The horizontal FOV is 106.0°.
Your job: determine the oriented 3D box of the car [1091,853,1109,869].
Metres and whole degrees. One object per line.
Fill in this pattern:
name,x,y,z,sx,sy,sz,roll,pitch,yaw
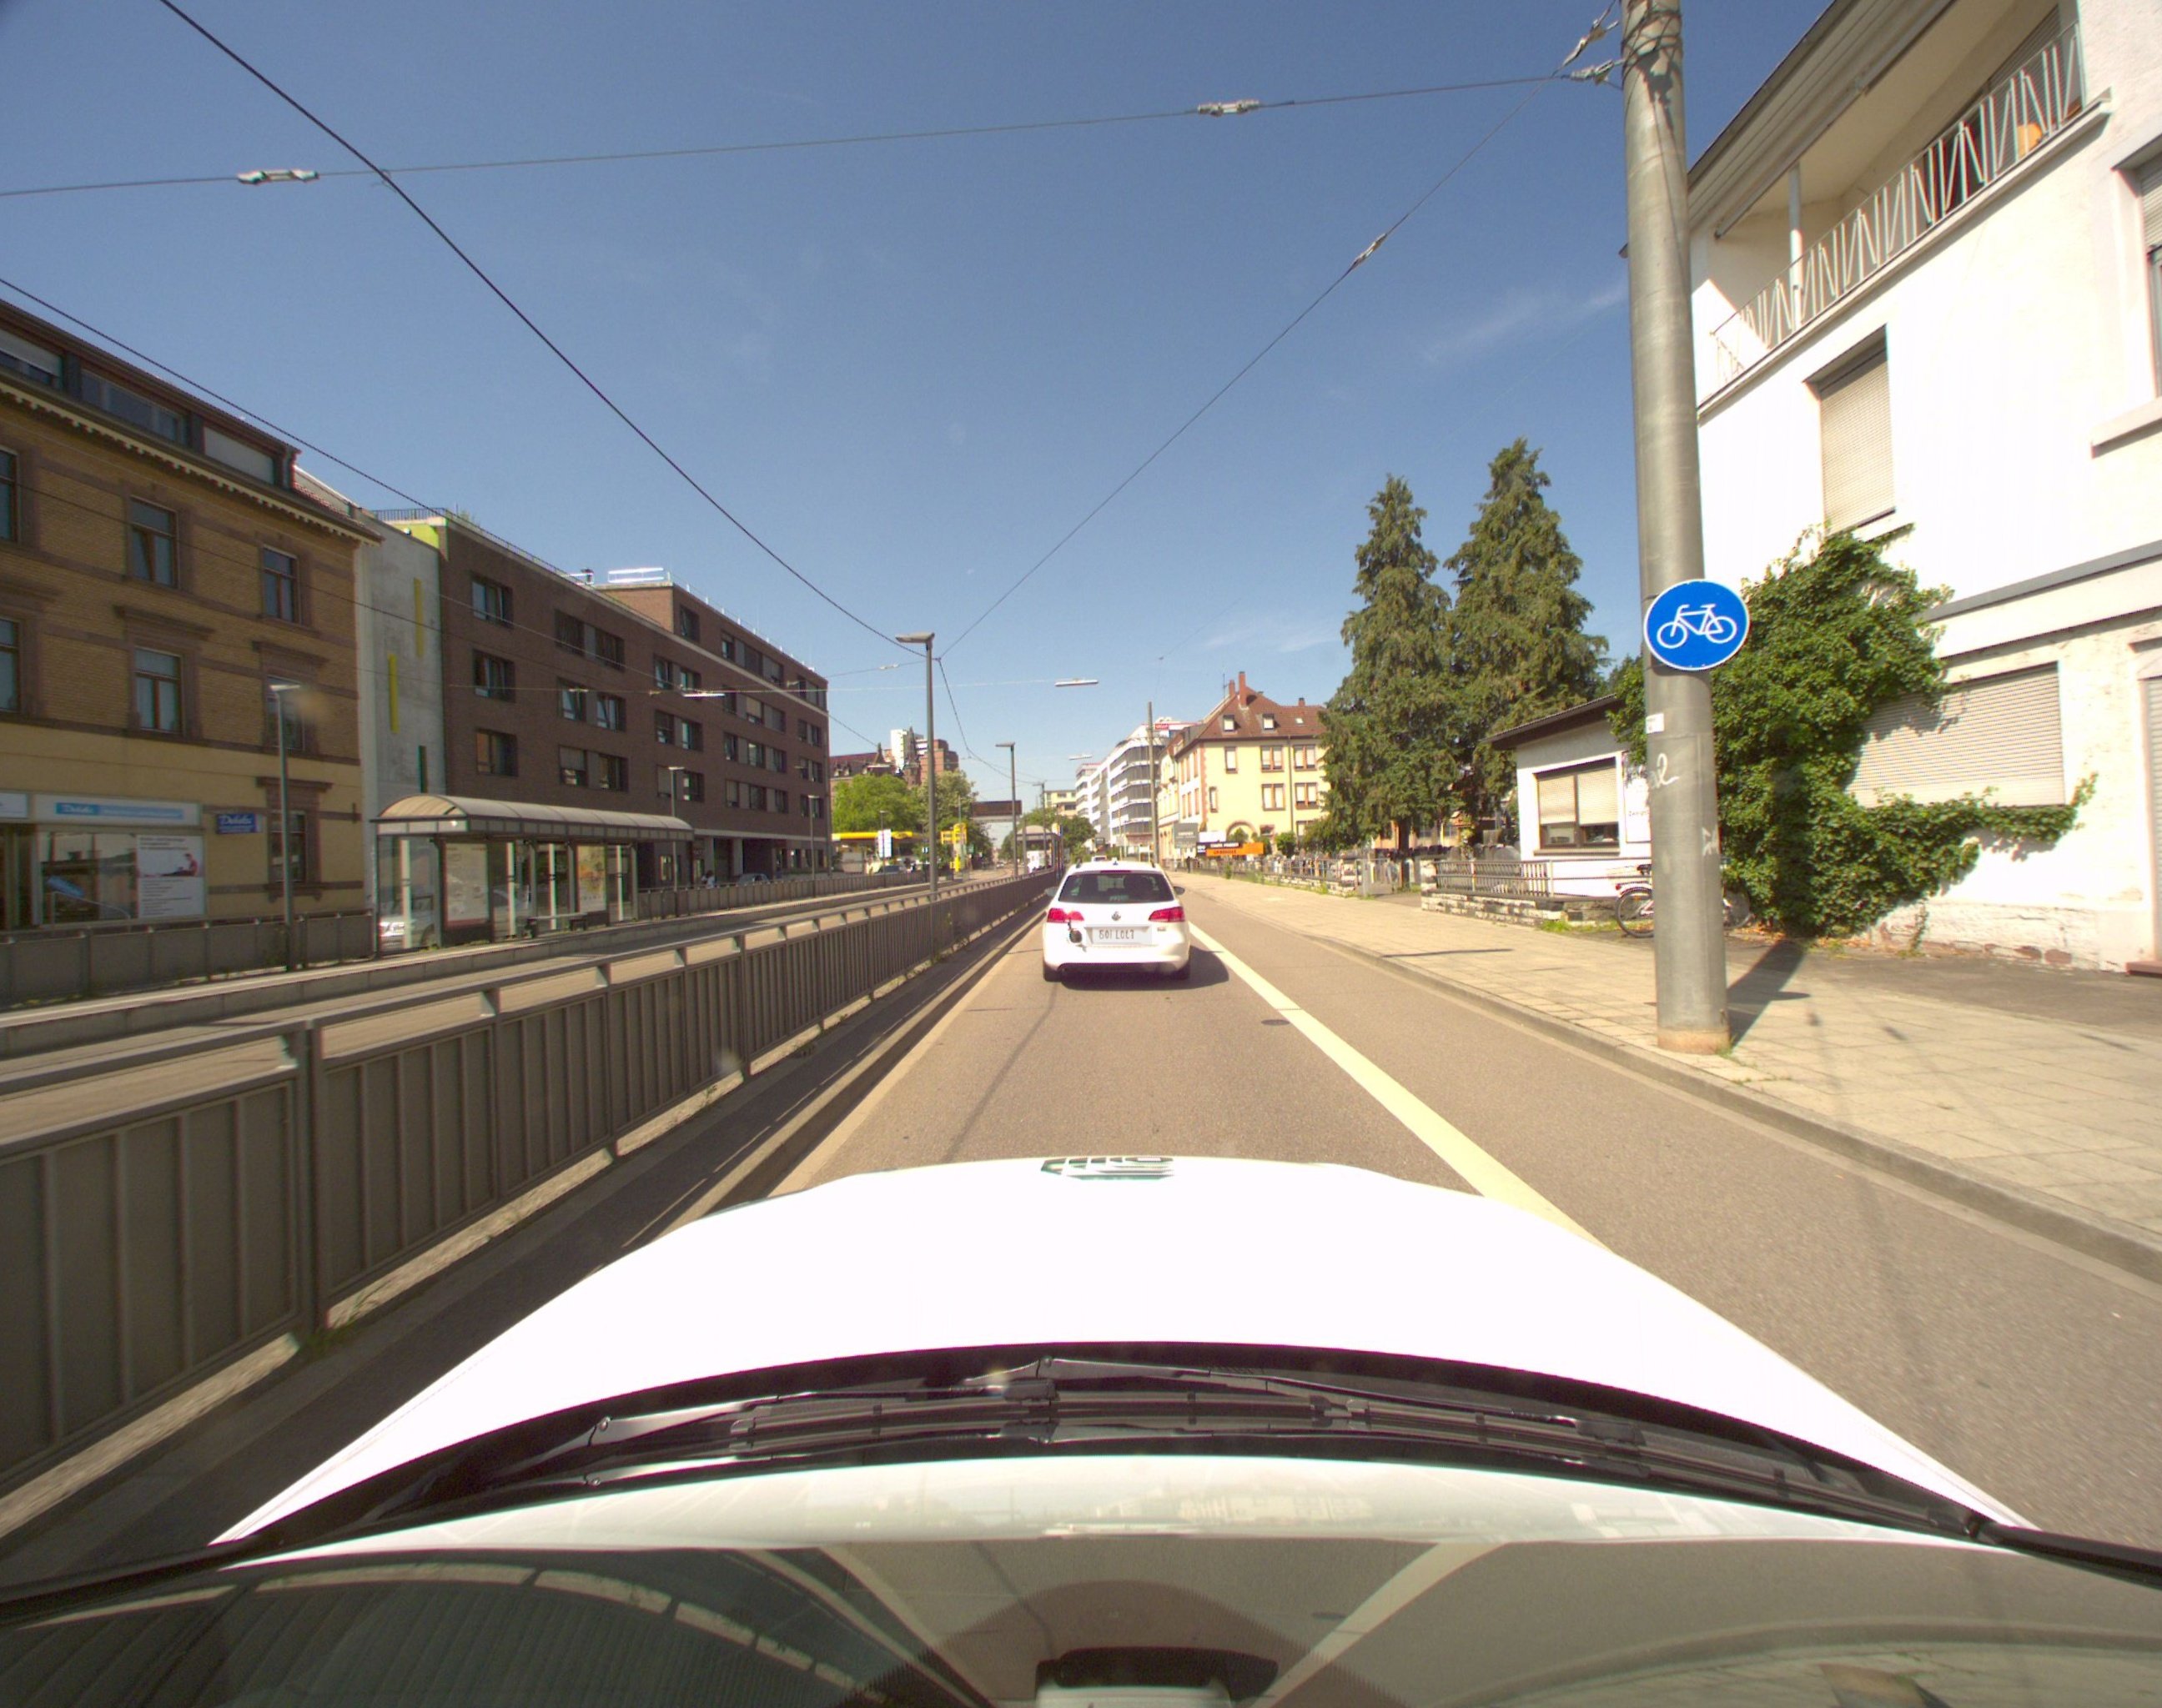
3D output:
car,2.489,0.939,107.094,1.989,2.013,3.996,-3,0,-3

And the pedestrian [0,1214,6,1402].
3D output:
pedestrian,-3.592,0.697,1.968,0.823,1.809,0.834,-3,-1,2

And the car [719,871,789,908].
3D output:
car,-14.723,1.560,36.834,1.567,1.459,3.738,-3,0,0

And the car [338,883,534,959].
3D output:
car,-15.469,1.533,19.831,1.567,1.459,3.935,-3,0,0

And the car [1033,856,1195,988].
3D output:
car,0.511,0.745,10.764,1.744,1.418,3.858,0,0,5

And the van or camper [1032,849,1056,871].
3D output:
van or camper,-5.618,0.897,121.706,2.941,3.180,6.596,-3,0,-7

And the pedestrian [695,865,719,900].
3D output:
pedestrian,-19.692,1.496,42.916,0.722,1.791,0.965,-3,0,1

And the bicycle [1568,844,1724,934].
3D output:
bicycle,7.735,0.469,11.197,1.705,1.130,0.526,-3,-1,3

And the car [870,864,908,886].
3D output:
car,-14.003,1.509,59.551,1.661,1.466,3.774,-3,0,2

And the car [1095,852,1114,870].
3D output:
car,2.960,0.878,101.659,1.989,2.013,3.996,-3,0,-3
